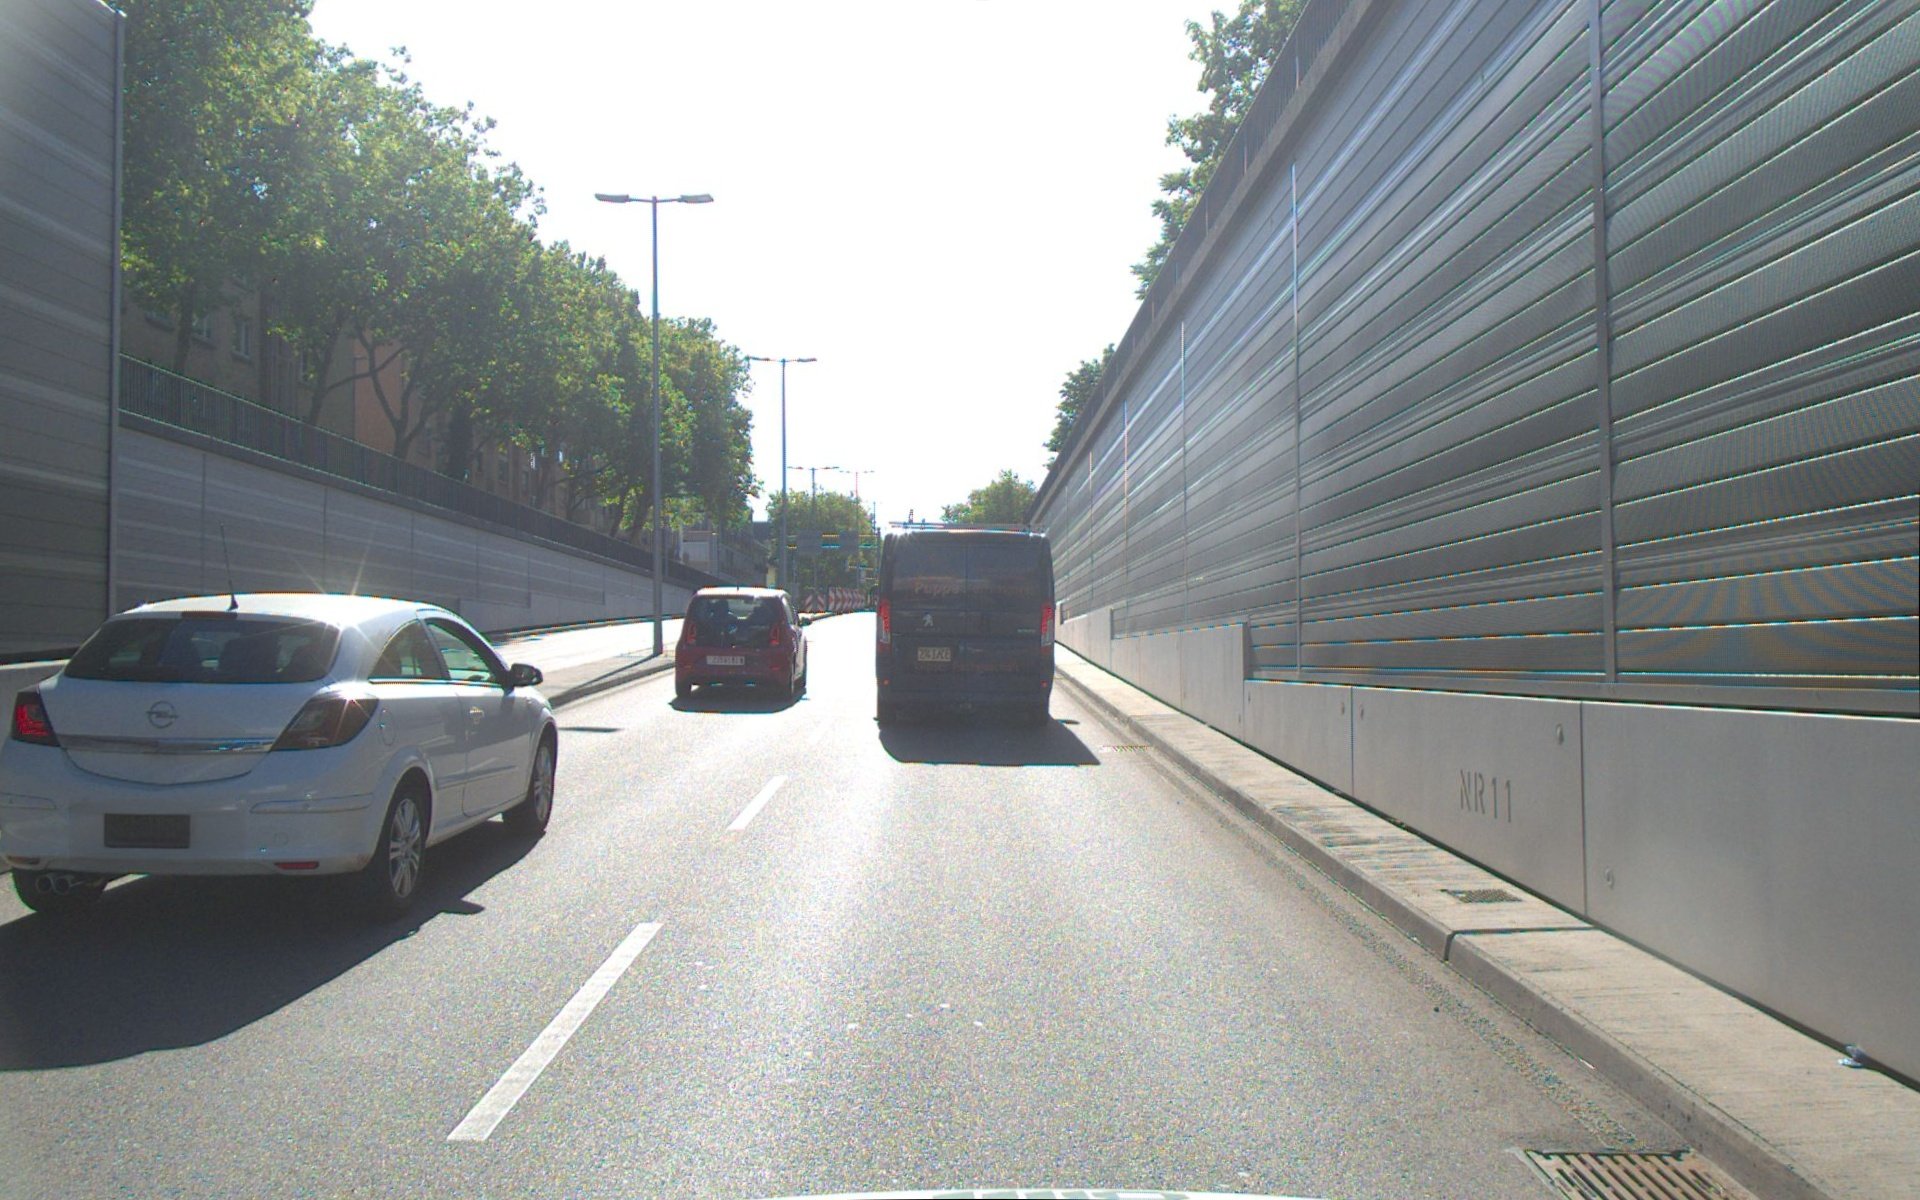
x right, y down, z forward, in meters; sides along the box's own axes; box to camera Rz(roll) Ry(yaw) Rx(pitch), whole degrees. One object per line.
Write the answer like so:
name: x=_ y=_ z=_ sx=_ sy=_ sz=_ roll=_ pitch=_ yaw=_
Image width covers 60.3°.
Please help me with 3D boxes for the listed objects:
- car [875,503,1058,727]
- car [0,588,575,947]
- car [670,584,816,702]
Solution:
car: x=0.050 y=0.174 z=20.024 sx=1.988 sy=2.444 sz=3.972 roll=0 pitch=0 yaw=-1
car: x=-3.235 y=0.684 z=8.608 sx=1.586 sy=1.428 sz=3.851 roll=1 pitch=0 yaw=-1
car: x=-2.995 y=0.547 z=23.349 sx=1.655 sy=1.509 sz=3.318 roll=1 pitch=1 yaw=-1
